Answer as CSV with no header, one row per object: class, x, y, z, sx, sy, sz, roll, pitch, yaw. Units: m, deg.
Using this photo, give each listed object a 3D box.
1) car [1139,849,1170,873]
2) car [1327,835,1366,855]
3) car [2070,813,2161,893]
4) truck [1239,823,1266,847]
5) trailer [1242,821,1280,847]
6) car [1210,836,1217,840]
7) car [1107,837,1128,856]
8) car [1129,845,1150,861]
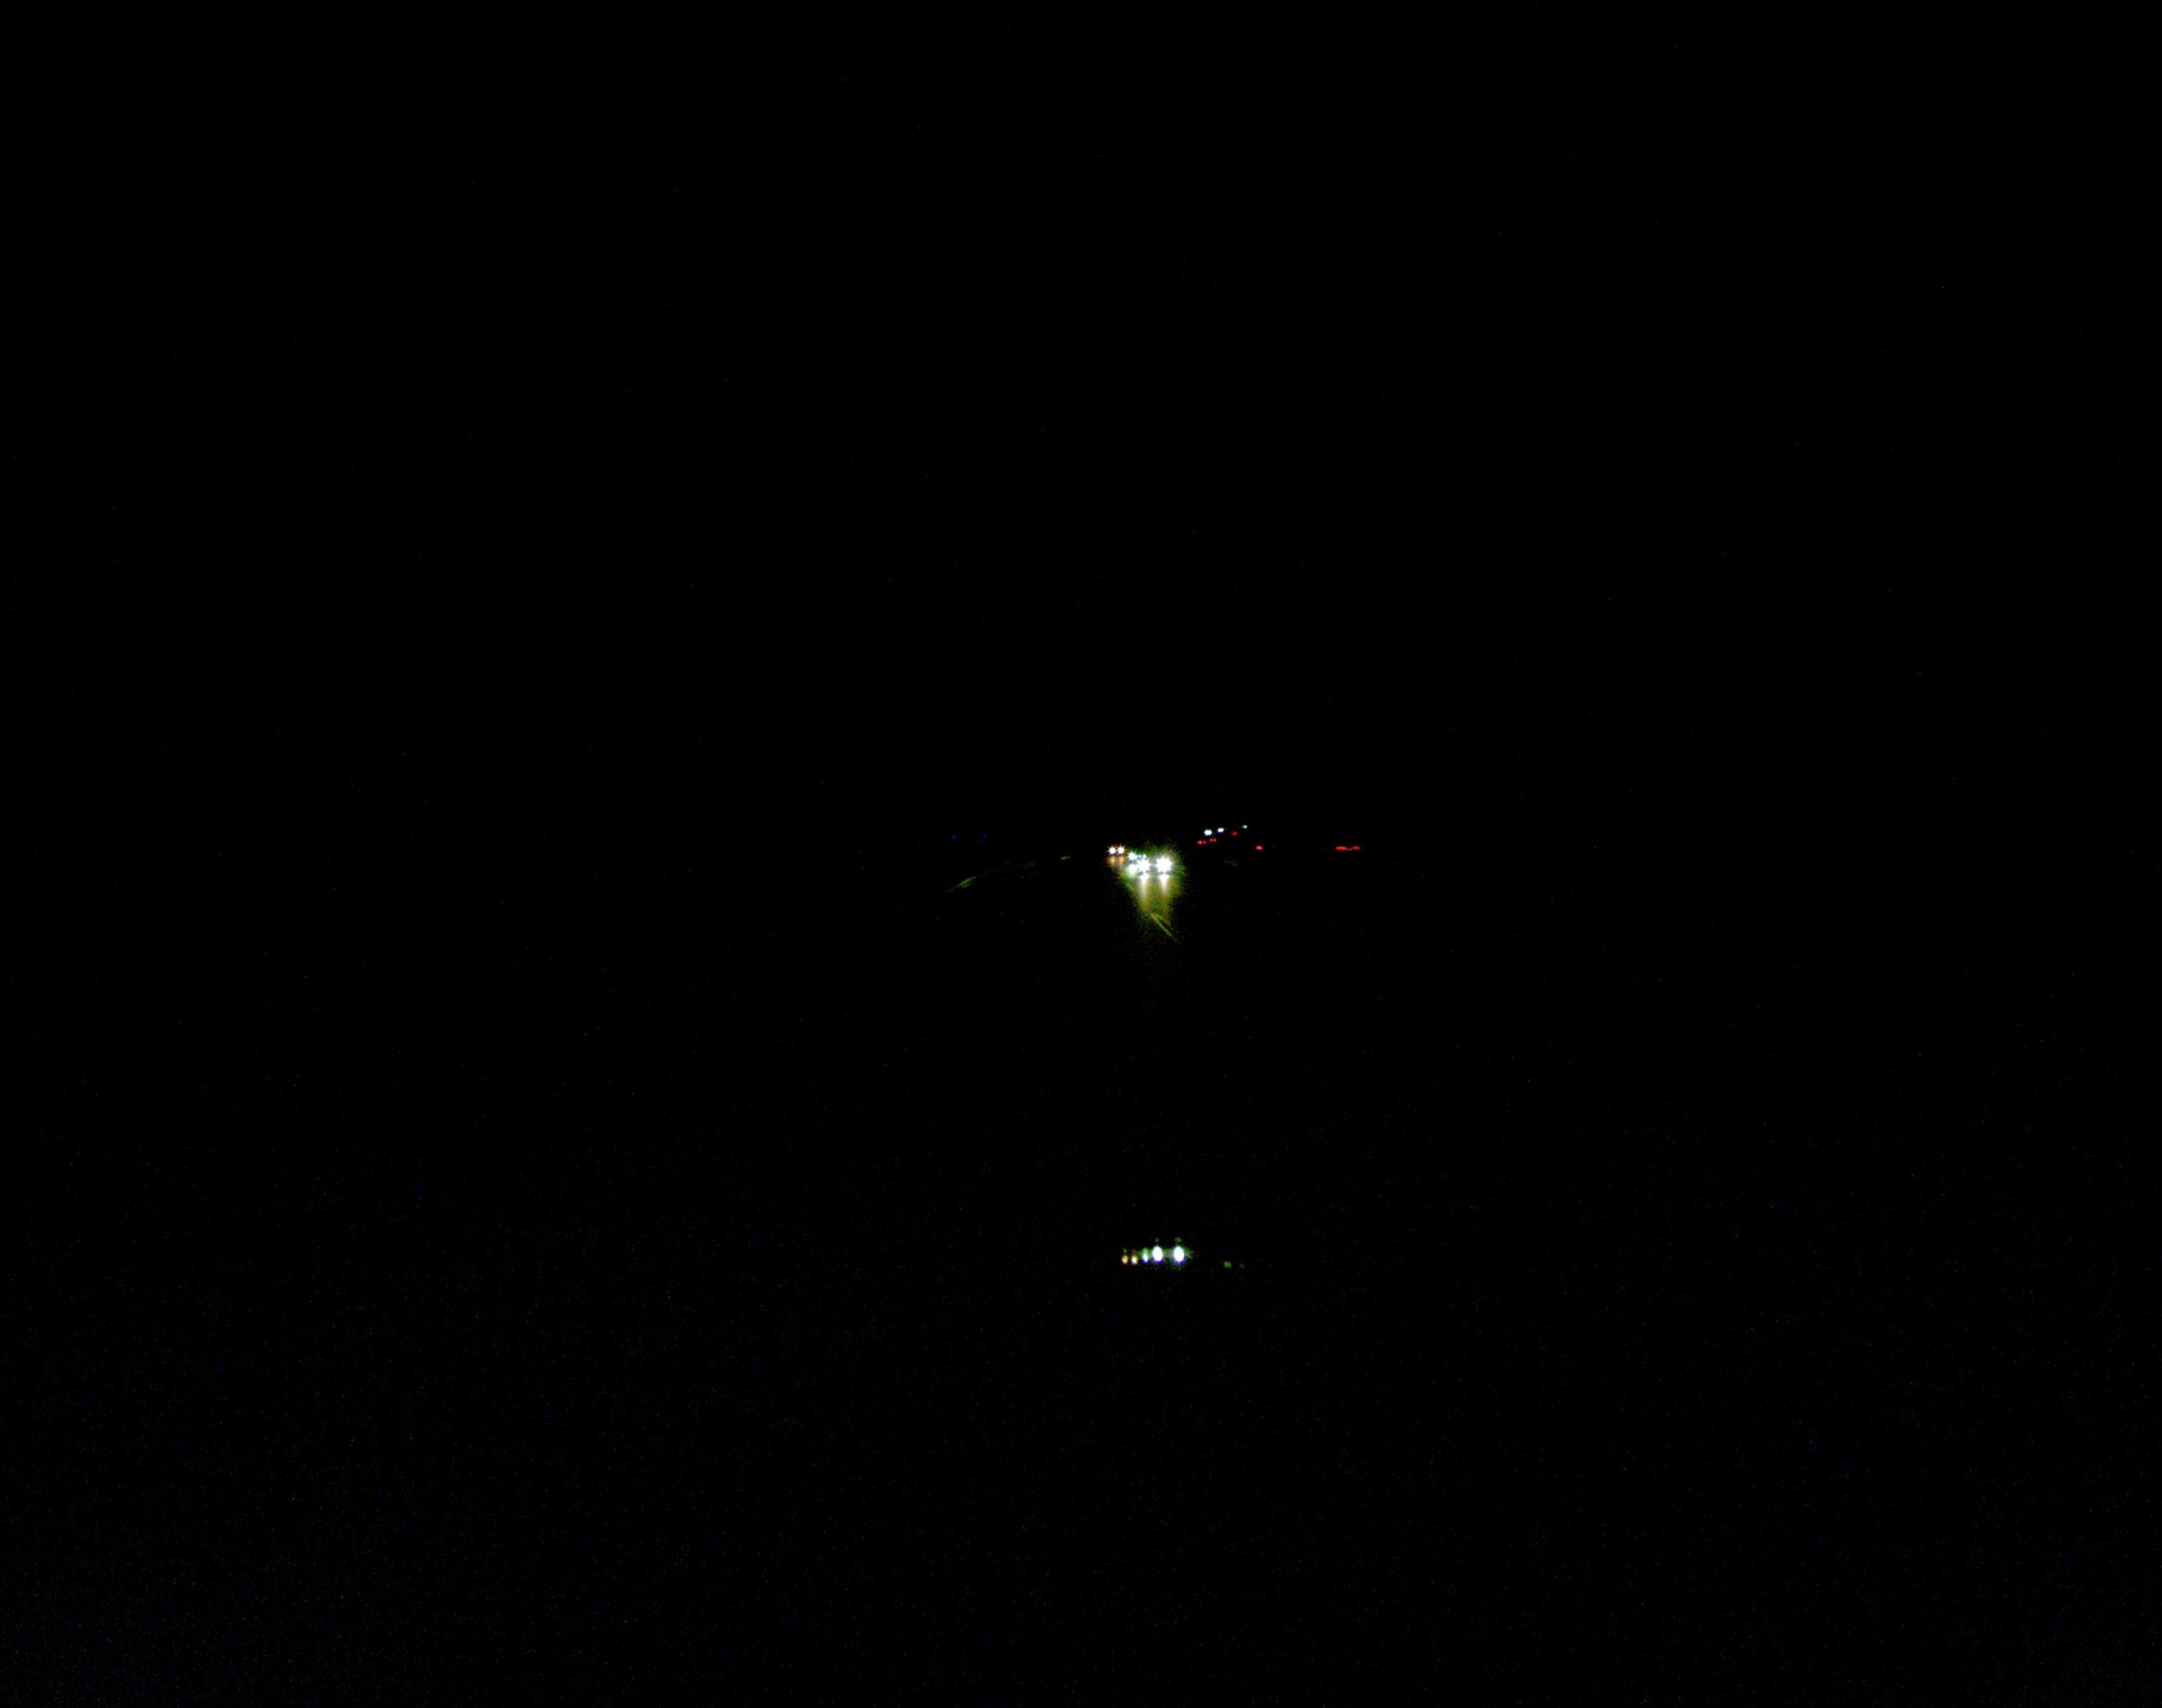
car,4.747,0.420,49.551,1.832,1.404,4.000,-3,1,4
car,26.611,-0.875,76.254,2.403,1.865,4.512,-2,1,1
car,24.167,-0.048,15.742,1.999,1.716,4.076,-2,0,-1
truck,30.708,-3.460,136.116,3.598,4.076,5.994,-2,1,3
trailer,30.333,-3.311,128.636,3.607,4.067,14.124,-2,1,3
car,44.718,-5.351,255.643,1.998,1.499,4.001,-2,1,6
car,6.345,-1.362,131.157,2.532,2.889,6.230,-3,2,11
car,6.538,-0.128,85.140,1.999,1.456,3.998,-3,2,0
